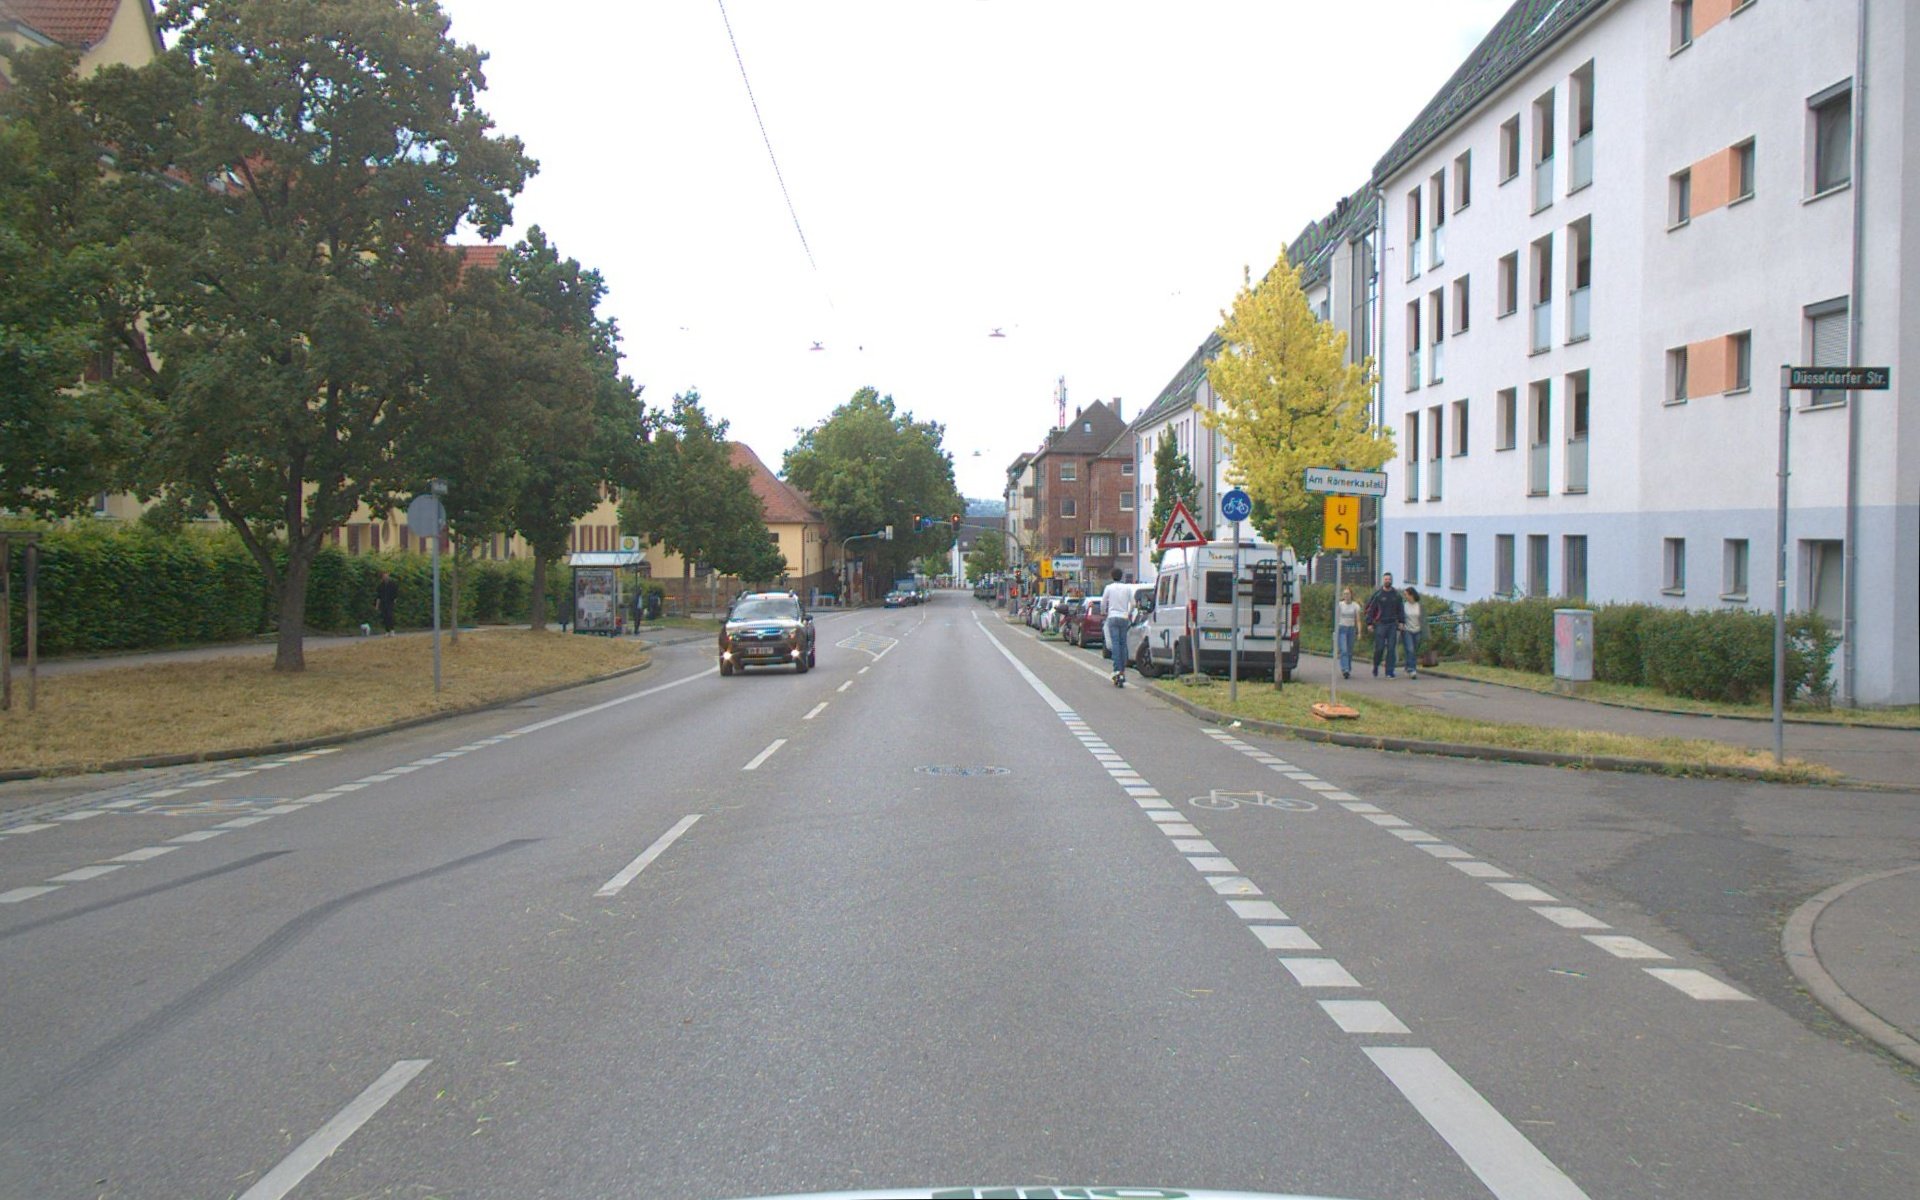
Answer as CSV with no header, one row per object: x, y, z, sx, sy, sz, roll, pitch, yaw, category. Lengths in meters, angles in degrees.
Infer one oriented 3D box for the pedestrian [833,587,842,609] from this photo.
-10.217,-0.155,137.730,0.660,1.796,0.726,0,0,4,pedestrian

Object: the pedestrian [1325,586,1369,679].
7.107,0.596,30.388,0.567,1.673,0.559,0,-1,-15,pedestrian

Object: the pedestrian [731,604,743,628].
-14.775,1.057,109.590,0.552,1.594,0.843,0,0,5,pedestrian

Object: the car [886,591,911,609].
-5.198,-0.019,139.203,1.719,1.498,4.308,-1,0,3,car

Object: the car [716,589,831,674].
-3.819,0.608,34.530,1.860,1.648,4.361,0,0,0,car

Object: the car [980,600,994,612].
3.568,0.765,221.546,1.635,1.574,3.754,0,0,-3,car

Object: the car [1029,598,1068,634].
4.503,0.773,84.674,1.625,1.746,4.550,2,0,-2,car

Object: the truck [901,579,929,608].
-4.045,-0.588,147.882,2.249,2.469,6.407,-1,0,-3,truck

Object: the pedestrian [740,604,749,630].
-15.053,1.187,115.575,0.552,1.808,0.842,0,0,-1,pedestrian

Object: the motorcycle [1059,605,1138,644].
4.679,0.819,55.944,2.546,1.301,0.752,0,0,-5,motorcycle

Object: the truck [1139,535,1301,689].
4.733,0.187,30.948,2.011,2.610,5.688,0,0,-1,truck

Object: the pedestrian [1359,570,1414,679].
7.618,0.438,29.573,0.658,1.920,0.764,0,-1,-13,pedestrian

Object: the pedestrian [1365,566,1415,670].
8.039,0.343,30.953,0.659,1.920,0.617,0,-1,-17,pedestrian

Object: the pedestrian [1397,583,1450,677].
8.334,0.532,29.758,0.645,1.633,0.574,-4,0,-10,pedestrian

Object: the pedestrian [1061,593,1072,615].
8.470,0.326,131.188,0.772,1.685,0.772,-2,0,0,pedestrian

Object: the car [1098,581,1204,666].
4.693,0.532,41.349,1.953,1.978,5.210,0,0,-1,car

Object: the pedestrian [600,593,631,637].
-12.401,0.537,59.546,0.881,1.536,0.806,1,0,0,pedestrian

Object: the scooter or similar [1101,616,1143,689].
2.801,0.884,28.706,0.480,1.183,2.074,0,0,-1,scooter or similar

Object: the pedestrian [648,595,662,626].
-16.039,0.554,87.061,0.627,1.647,0.618,0,0,-2,pedestrian

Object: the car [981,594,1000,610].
3.633,0.221,198.074,1.954,1.969,4.916,0,0,-3,car

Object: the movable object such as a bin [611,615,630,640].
-12.158,0.997,59.301,0.525,0.860,0.665,1,0,1,movable object such as a bin

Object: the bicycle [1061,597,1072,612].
8.493,0.349,132.053,0.744,1.214,2.391,0,0,0,bicycle

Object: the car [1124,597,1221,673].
4.580,0.726,36.106,1.494,1.511,3.725,2,0,-2,car

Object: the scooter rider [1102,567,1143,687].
2.821,0.457,28.751,0.613,2.049,0.757,0,0,-1,scooter rider

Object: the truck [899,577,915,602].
-7.525,-1.467,234.197,2.185,3.405,7.448,0,0,-1,truck

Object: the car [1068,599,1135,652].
4.472,0.776,52.782,1.647,1.571,4.337,1,0,-2,car

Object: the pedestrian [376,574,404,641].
-15.637,0.199,45.354,0.503,1.811,0.753,0,0,-1,pedestrian

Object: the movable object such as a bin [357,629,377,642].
-16.368,0.980,45.647,0.300,0.353,0.581,0,0,5,movable object such as a bin

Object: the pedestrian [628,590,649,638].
-11.992,0.523,61.711,0.585,1.757,0.861,1,0,2,pedestrian
